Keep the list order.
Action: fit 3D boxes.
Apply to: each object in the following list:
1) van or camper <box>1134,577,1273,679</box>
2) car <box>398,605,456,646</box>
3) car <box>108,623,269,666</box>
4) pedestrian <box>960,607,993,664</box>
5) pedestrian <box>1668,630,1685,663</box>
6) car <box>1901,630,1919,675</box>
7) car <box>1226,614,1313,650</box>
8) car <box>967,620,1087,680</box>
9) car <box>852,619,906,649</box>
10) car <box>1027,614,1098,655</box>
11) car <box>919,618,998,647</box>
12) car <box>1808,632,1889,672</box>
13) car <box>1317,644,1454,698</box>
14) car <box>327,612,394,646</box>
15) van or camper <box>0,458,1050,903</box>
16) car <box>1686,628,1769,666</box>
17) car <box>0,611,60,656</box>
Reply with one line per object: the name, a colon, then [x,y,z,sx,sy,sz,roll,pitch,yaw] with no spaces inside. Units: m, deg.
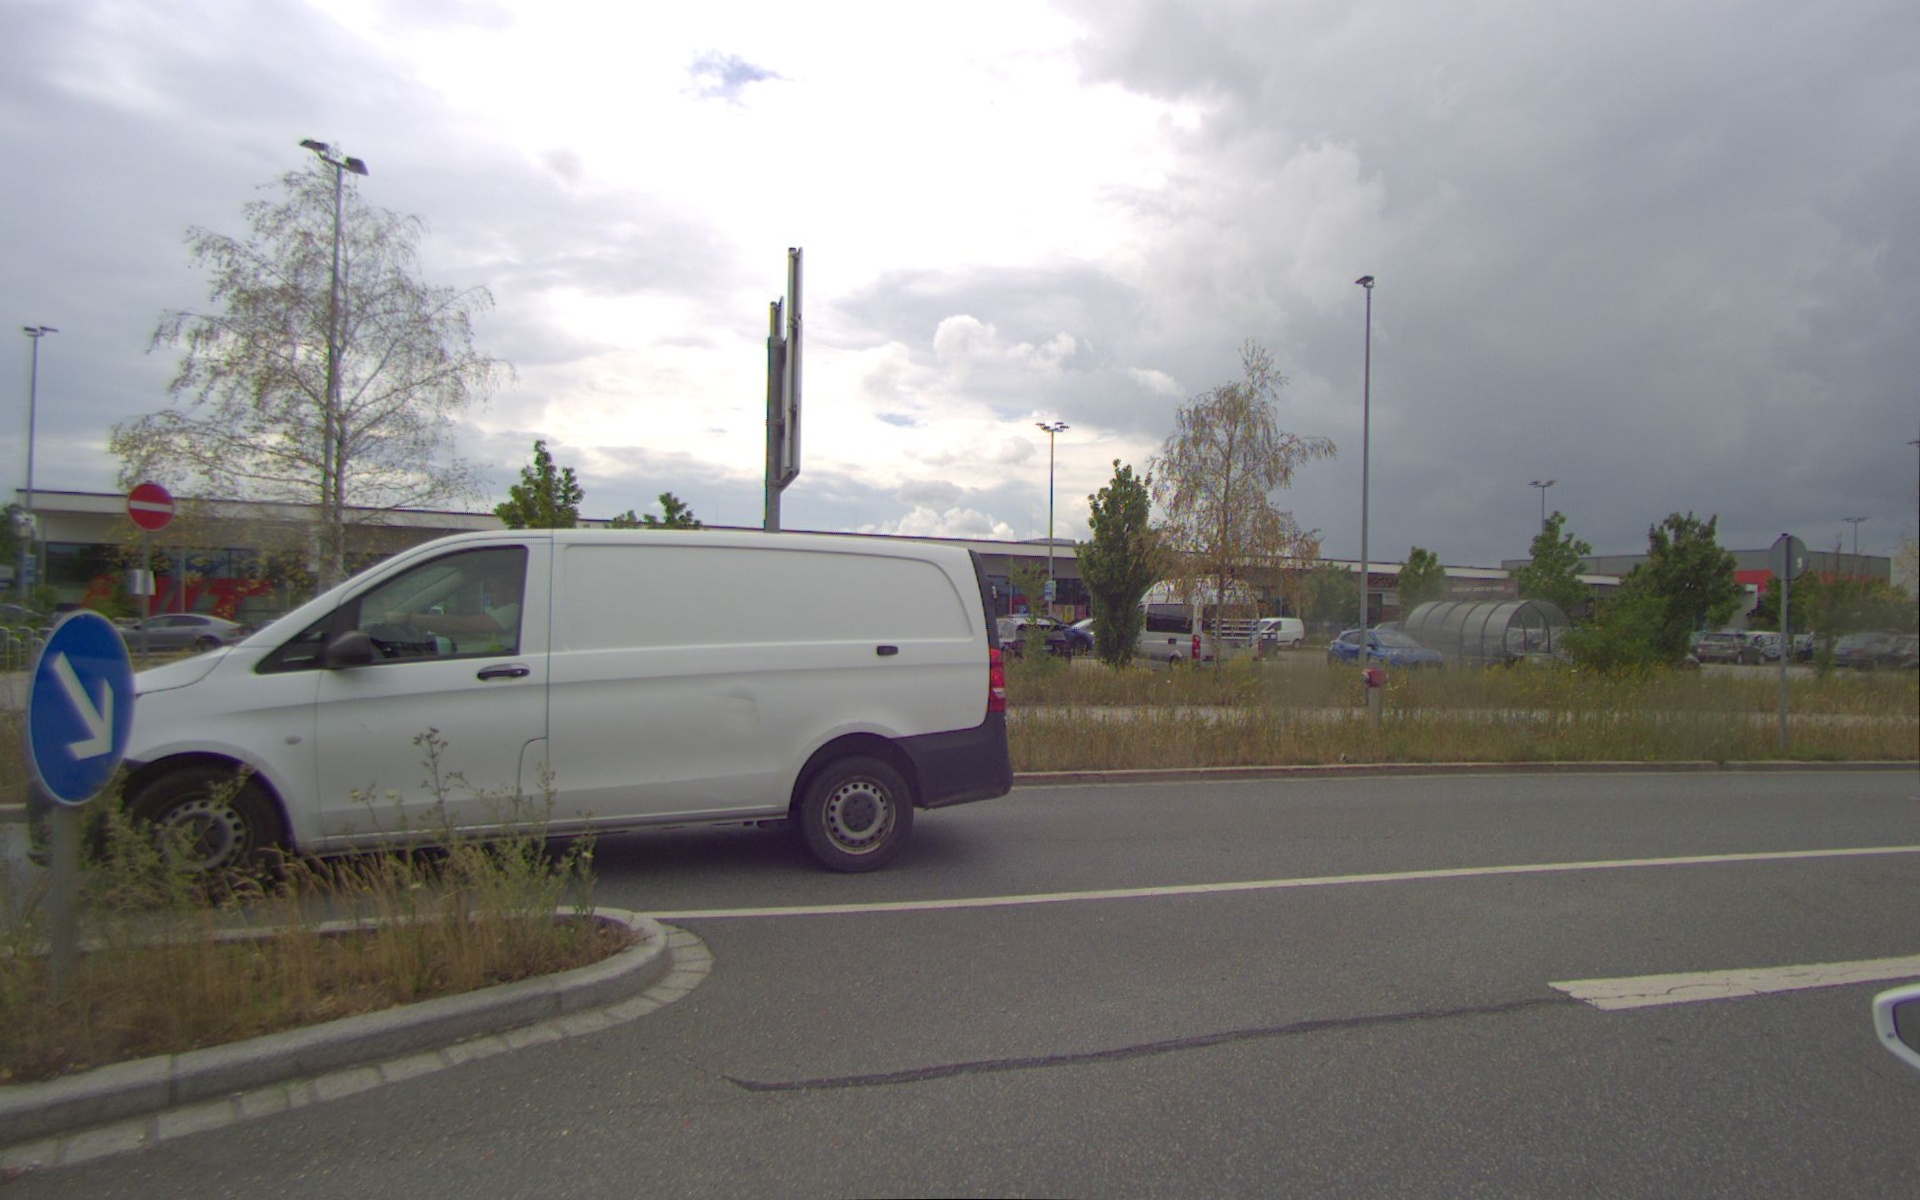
van or camper: [6.518,0.763,27.373,2.249,2.525,3.993,2,-2,-10]
car: [-24.654,1.144,46.591,1.803,1.723,4.213,1,0,-21]
car: [-26.063,1.510,34.121,3.947,1.369,1.987,2,-2,-26]
pedestrian: [0.591,1.301,37.080,0.987,2.040,0.865,1,-1,-15]
pedestrian: [35.160,2.275,49.261,0.496,1.598,0.511,1,-1,-30]
car: [31.100,1.641,30.133,1.880,1.409,3.807,1,-1,-11]
car: [16.891,1.750,54.859,4.370,1.843,1.987,2,-2,-26]
car: [1.710,1.301,27.082,1.962,1.470,4.137,2,-2,-15]
car: [-4.545,1.886,55.794,1.970,1.528,3.980,2,-1,-21]
car: [4.402,1.463,43.648,1.790,1.675,3.988,1,-1,-15]
car: [-0.102,1.799,55.710,3.942,1.528,1.990,2,-1,-22]
car: [39.913,2.304,45.098,3.794,1.675,1.748,1,-1,-32]
car: [12.537,2.056,29.919,1.778,1.402,4.143,2,-2,-10]
car: [-27.073,1.289,45.510,1.884,1.463,3.981,1,-1,-21]
van or camper: [-2.221,0.483,6.038,5.120,1.936,1.993,2,-3,-17]
car: [38.083,2.298,49.829,3.955,1.757,1.983,1,-1,-32]
car: [-35.880,1.155,36.017,4.961,1.578,1.986,2,-2,-28]
